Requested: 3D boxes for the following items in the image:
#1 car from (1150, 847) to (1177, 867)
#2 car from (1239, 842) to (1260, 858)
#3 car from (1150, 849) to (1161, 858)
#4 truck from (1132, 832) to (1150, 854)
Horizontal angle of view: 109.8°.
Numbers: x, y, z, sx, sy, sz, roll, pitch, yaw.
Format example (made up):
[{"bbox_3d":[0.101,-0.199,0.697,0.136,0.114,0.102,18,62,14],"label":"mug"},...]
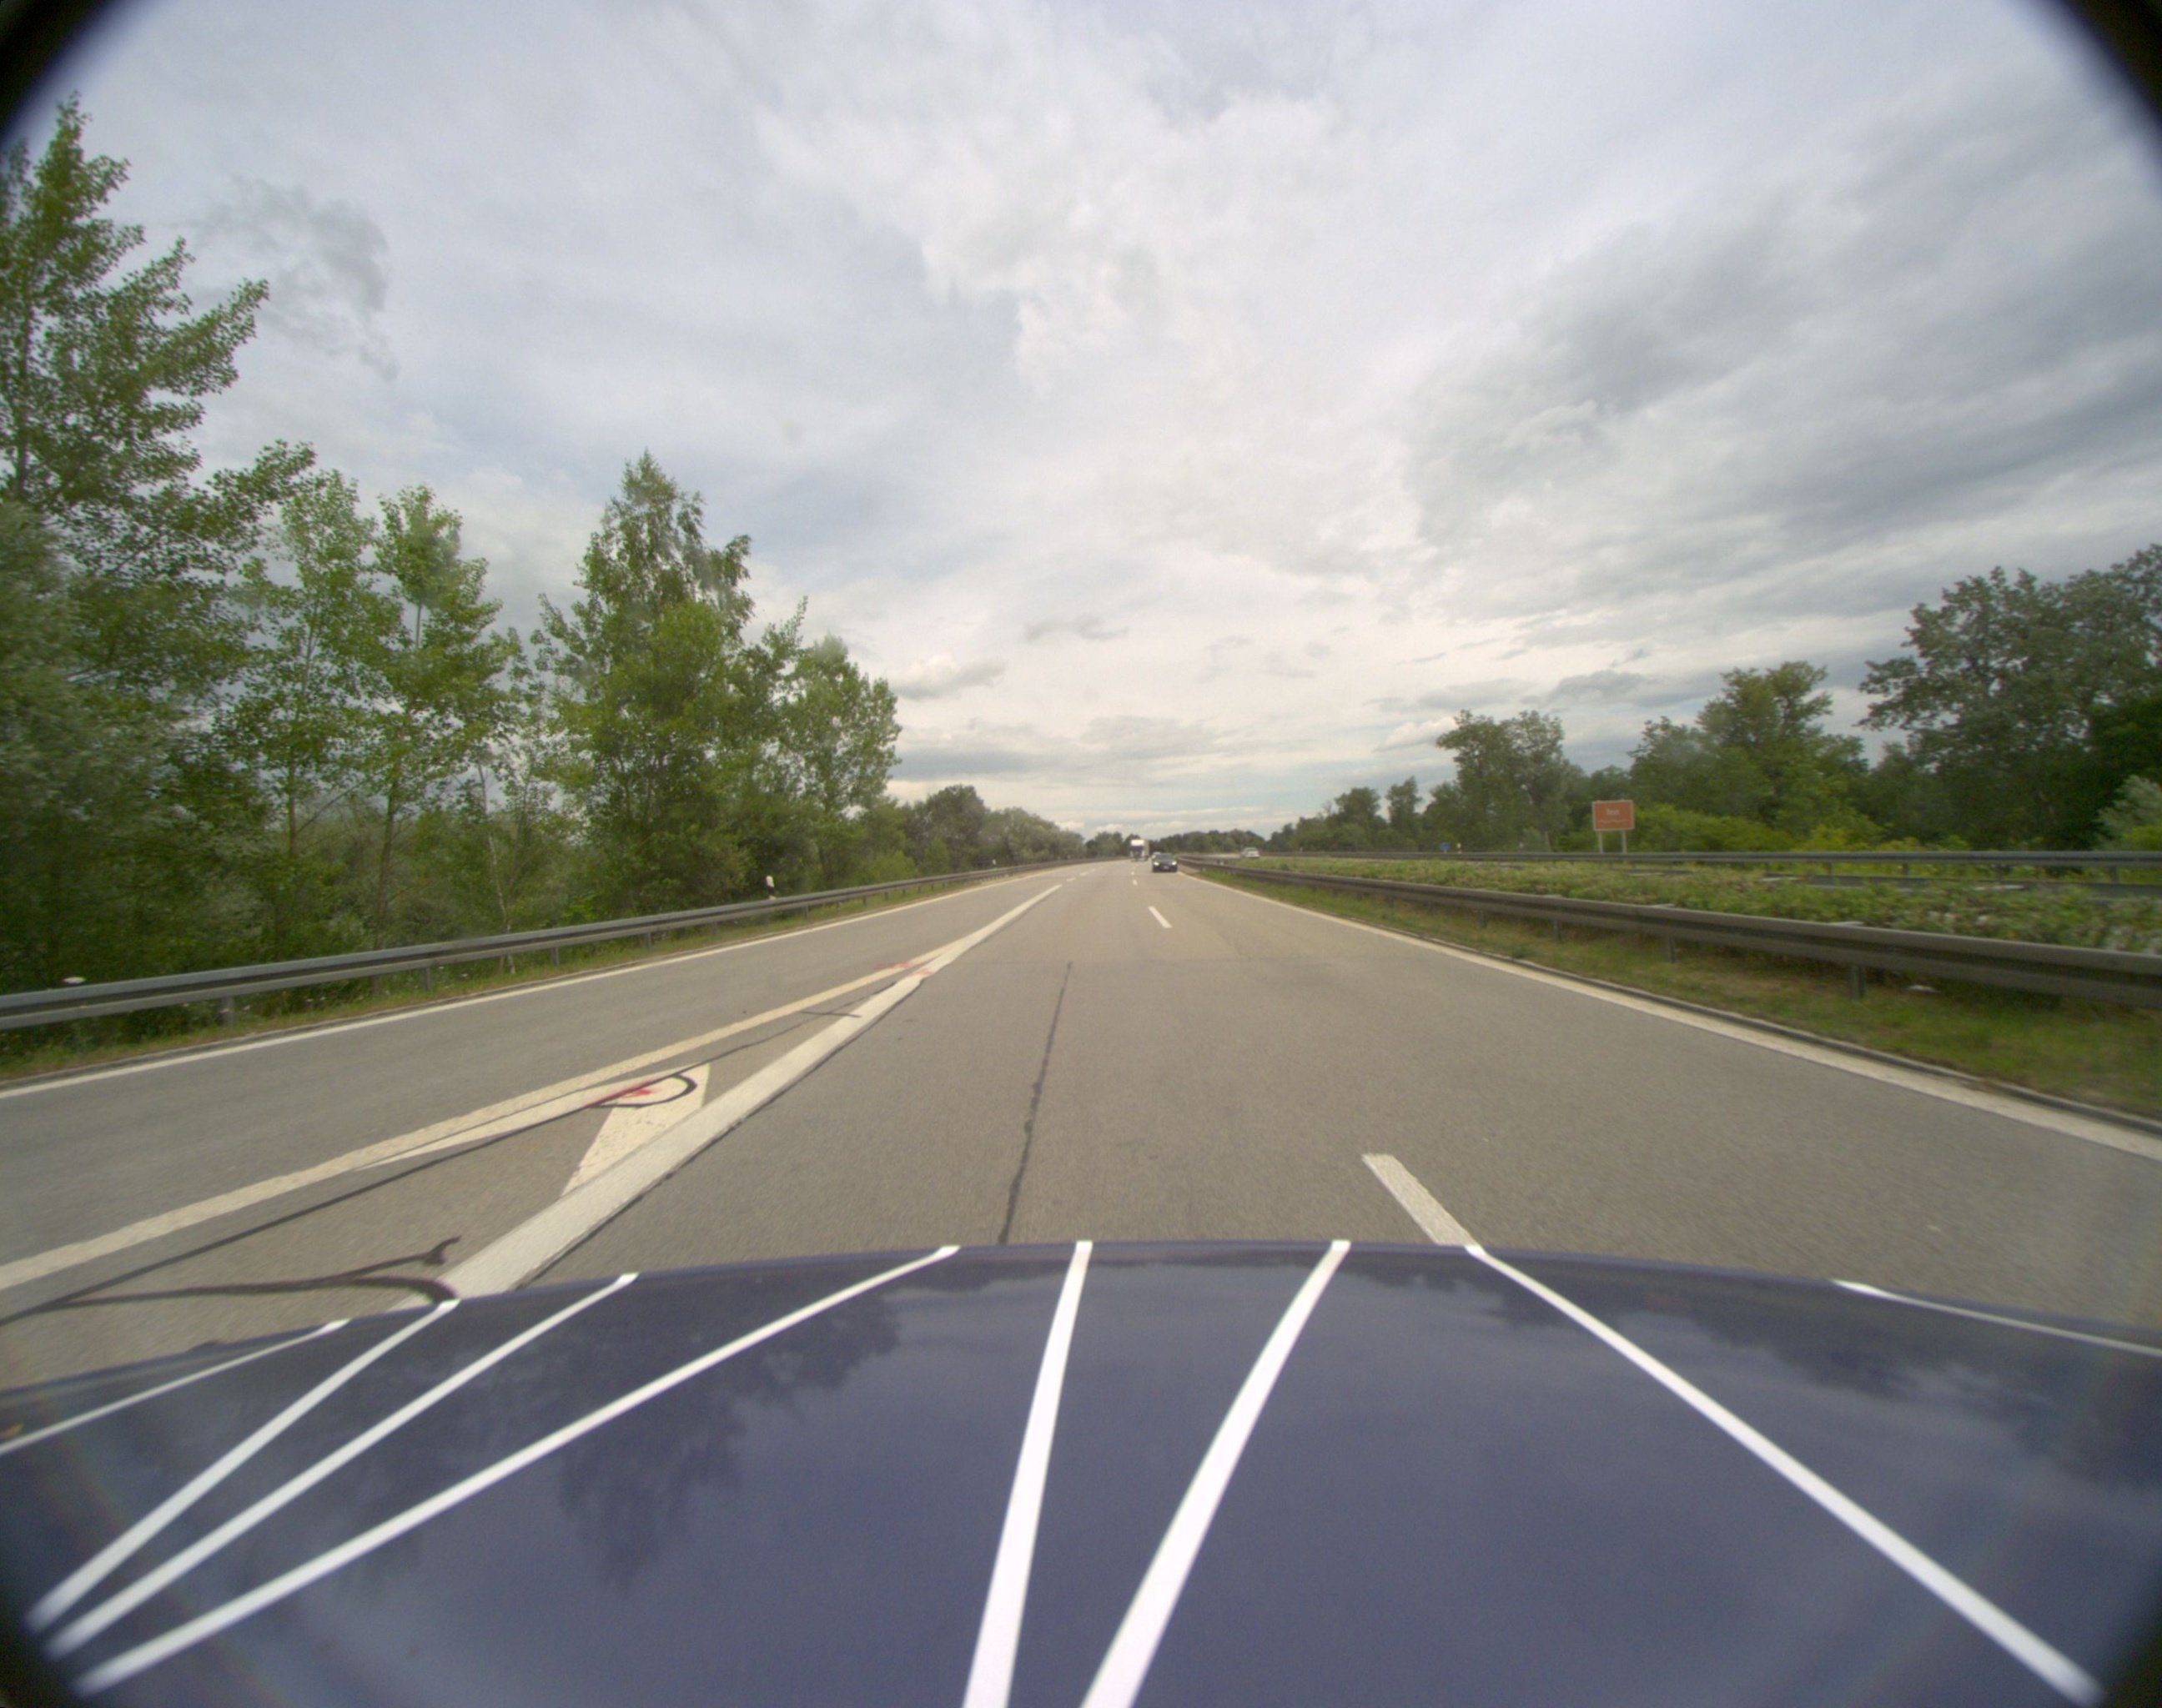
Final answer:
[{"bbox_3d":[6.402,0.245,59.335,1.774,1.474,4.699,-1,-1,3],"label":"car"},{"bbox_3d":[19.264,-0.440,87.157,1.646,1.705,4.982,-2,1,5],"label":"car"},{"bbox_3d":[13.349,-0.041,136.225,1.774,1.474,4.659,-1,-1,8],"label":"car"},{"bbox_3d":[11.255,-2.018,142.531,3.068,3.869,6.003,-1,0,7],"label":"truck"}]
